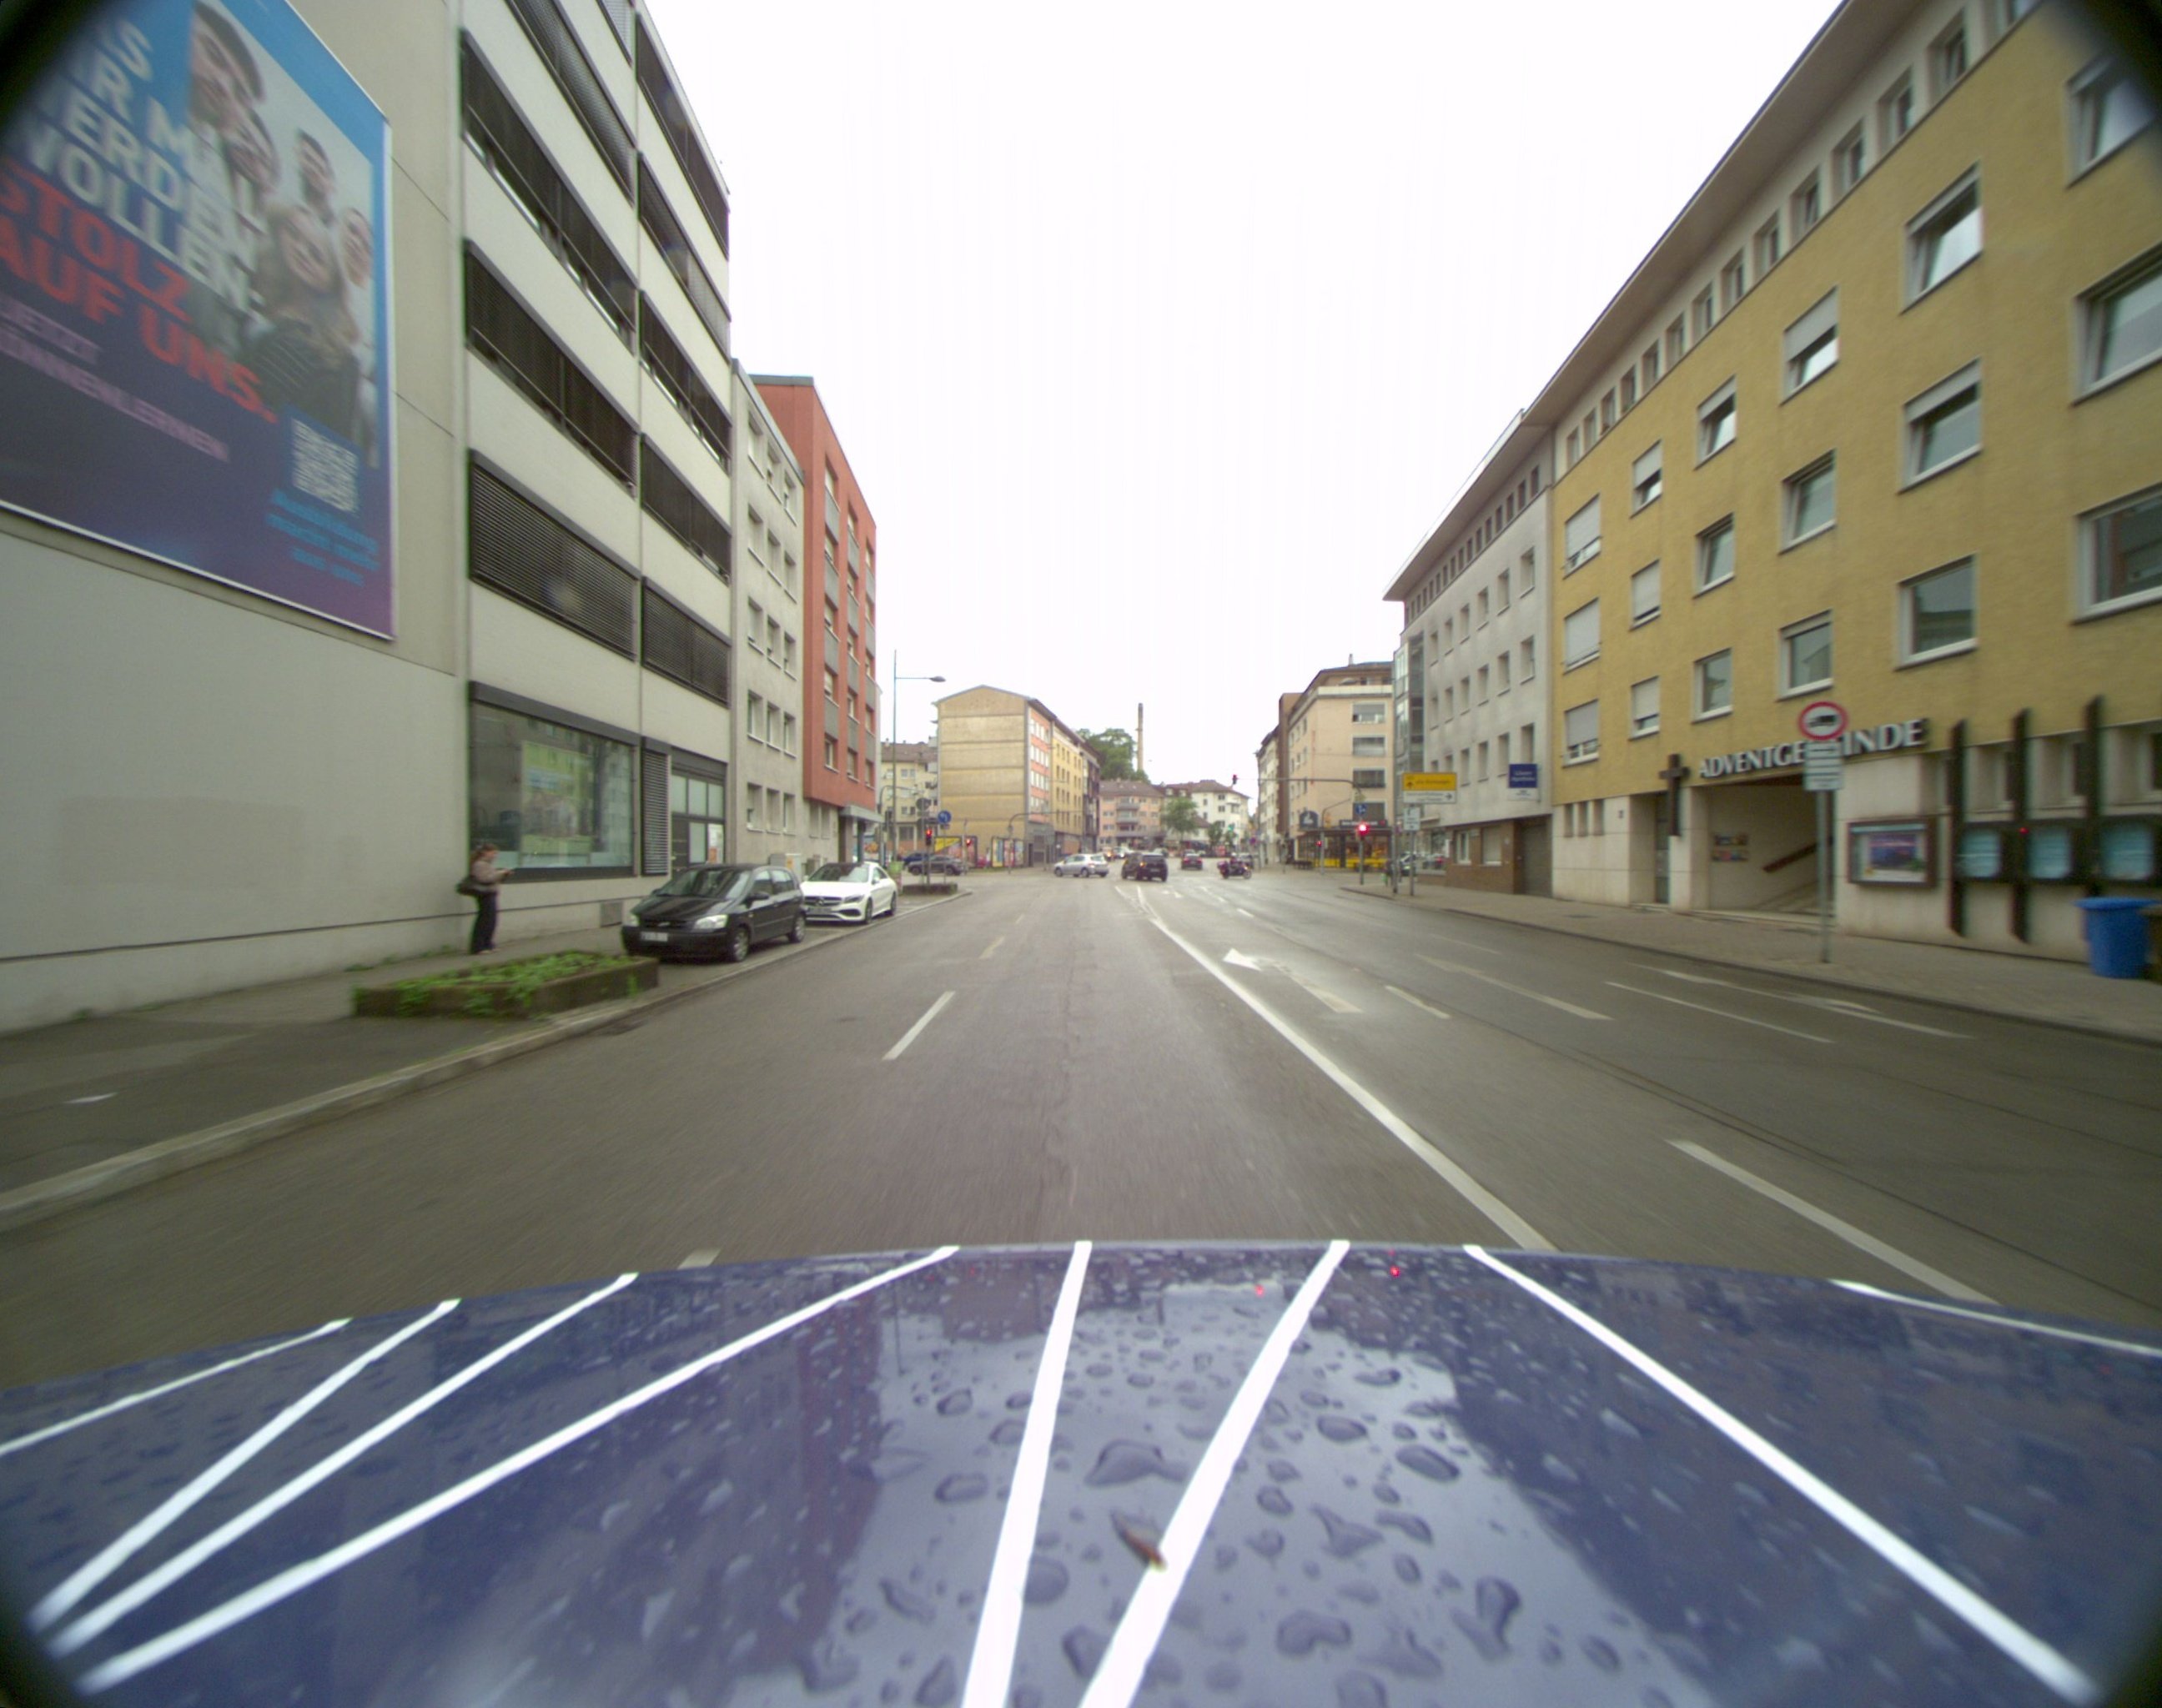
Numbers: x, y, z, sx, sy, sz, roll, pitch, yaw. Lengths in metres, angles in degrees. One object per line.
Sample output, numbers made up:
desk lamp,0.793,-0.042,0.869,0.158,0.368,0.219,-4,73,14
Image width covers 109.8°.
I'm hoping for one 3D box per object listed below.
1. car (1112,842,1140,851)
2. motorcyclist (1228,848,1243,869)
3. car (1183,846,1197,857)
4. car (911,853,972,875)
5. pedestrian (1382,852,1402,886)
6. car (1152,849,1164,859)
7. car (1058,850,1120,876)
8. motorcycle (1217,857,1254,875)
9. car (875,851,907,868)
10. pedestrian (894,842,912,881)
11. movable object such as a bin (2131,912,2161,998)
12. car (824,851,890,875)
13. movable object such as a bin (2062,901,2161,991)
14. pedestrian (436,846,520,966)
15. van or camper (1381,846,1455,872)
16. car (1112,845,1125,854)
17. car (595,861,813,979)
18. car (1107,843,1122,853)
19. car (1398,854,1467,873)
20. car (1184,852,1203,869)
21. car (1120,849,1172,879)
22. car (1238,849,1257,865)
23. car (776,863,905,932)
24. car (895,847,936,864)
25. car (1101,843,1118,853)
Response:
car,7.768,-1.302,130.878,2.038,1.522,4.894,-1,1,-40
motorcyclist,9.910,0.289,48.742,0.871,1.320,0.493,0,1,9
car,15.149,-0.393,105.487,1.591,1.518,3.491,0,0,14
car,-10.303,0.710,56.245,3.994,1.612,1.838,0,1,9
pedestrian,14.793,0.692,36.165,0.785,1.578,0.674,-2,0,21
car,13.264,-0.019,130.107,1.670,1.761,4.003,1,0,11
car,0.506,0.550,50.219,1.840,1.612,3.988,-1,1,-44
motorcycle,9.891,0.779,48.784,2.290,1.157,0.775,0,1,10
car,-17.369,0.477,69.637,1.737,1.448,3.742,0,0,4
pedestrian,-9.777,0.414,41.754,0.806,2.140,0.737,-1,1,-23
movable object such as a bin,12.248,1.126,8.457,0.465,0.922,0.428,-4,0,8
car,-15.536,0.617,52.734,3.996,1.612,1.837,0,1,4
movable object such as a bin,12.429,1.096,9.135,0.517,0.994,0.524,-4,0,8
pedestrian,-8.601,0.722,10.861,0.599,1.650,0.691,3,0,-7
van or camper,26.715,0.382,60.414,5.023,2.002,2.000,0,2,6
car,5.736,-0.725,115.652,1.736,1.389,3.743,0,0,8
car,-5.883,0.930,12.416,1.706,1.549,3.804,1,0,-1
car,4.782,-0.823,108.984,1.736,1.389,3.744,0,0,8
car,25.119,0.663,54.400,4.094,1.282,1.842,0,0,2
car,10.455,0.576,70.722,1.747,1.587,4.002,0,0,8
car,3.737,0.544,44.049,1.880,1.674,3.995,0,0,-13
car,17.454,0.266,79.870,1.834,1.612,4.003,0,0,10
car,-5.779,0.984,18.889,1.835,1.412,4.569,1,0,-1
car,-17.345,0.132,79.816,3.783,1.701,1.842,0,1,20
car,3.935,-0.842,104.349,1.736,1.389,3.745,0,0,13
